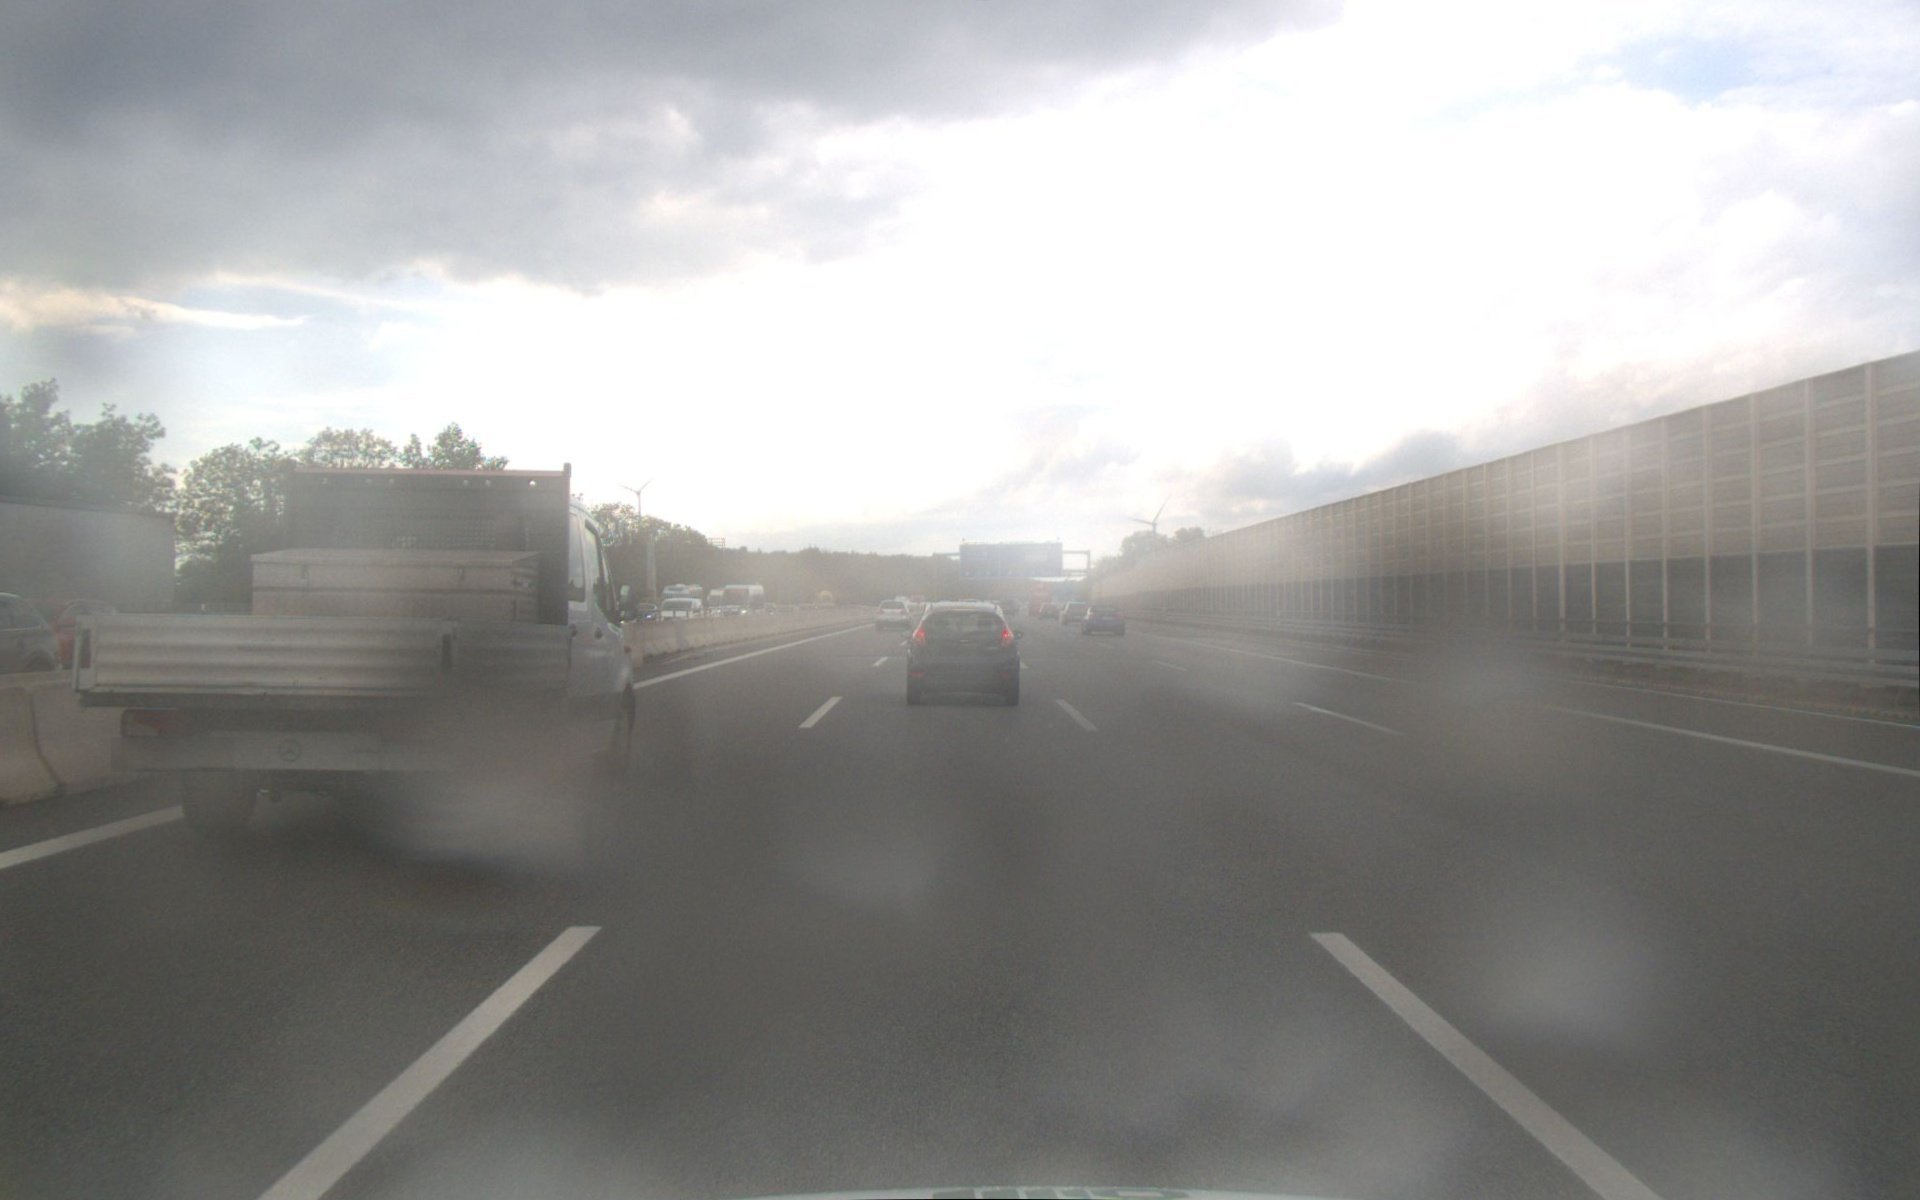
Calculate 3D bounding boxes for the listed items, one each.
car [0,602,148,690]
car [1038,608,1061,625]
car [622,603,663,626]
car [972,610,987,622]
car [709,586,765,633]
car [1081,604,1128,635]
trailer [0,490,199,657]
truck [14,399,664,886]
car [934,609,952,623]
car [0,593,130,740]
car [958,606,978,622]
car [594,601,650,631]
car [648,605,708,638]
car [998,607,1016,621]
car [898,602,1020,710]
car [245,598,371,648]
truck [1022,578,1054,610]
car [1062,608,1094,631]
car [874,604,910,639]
[{"bbox_3d":[-17.696,0.821,31.614,2.018,1.561,4.719,0,0,0],"label":"car"},{"bbox_3d":[8.201,1.510,151.750,1.844,1.588,4.432,0,-1,0],"label":"car"},{"bbox_3d":[-21.090,0.981,109.988,1.687,1.490,4.520,1,-1,2],"label":"car"},{"bbox_3d":[2.678,2.174,224.994,1.928,1.588,4.431,0,-1,-1],"label":"car"},{"bbox_3d":[-14.134,0.542,105.378,2.185,2.797,9.165,0,1,1],"label":"car"},{"bbox_3d":[6.737,0.912,77.639,1.909,1.443,4.232,0,0,1],"label":"car"},{"bbox_3d":[-25.065,-0.682,44.139,2.871,4.102,14.452,0,0,0],"label":"trailer"},{"bbox_3d":[-3.820,0.199,12.069,2.260,2.482,7.145,1,0,-2],"label":"truck"},{"bbox_3d":[-1.953,1.860,191.307,1.927,1.588,4.432,0,-1,0],"label":"car"},{"bbox_3d":[-13.569,0.870,21.833,2.018,1.913,6.327,0,0,0],"label":"car"},{"bbox_3d":[0.800,1.374,161.577,1.927,1.588,4.432,0,-1,0],"label":"car"},{"bbox_3d":[-17.630,0.818,86.533,2.018,1.561,4.519,0,0,0],"label":"car"},{"bbox_3d":[-13.910,1.034,81.967,2.018,1.561,5.469,0,0,0],"label":"car"},{"bbox_3d":[5.615,1.665,197.235,1.928,1.588,4.432,0,-1,0],"label":"car"},{"bbox_3d":[-0.045,0.781,25.008,1.682,1.441,4.278,0,1,-1],"label":"car"},{"bbox_3d":[-21.496,0.744,54.801,2.018,1.561,5.469,0,0,0],"label":"car"},{"bbox_3d":[9.259,-0.704,197.536,3.088,3.664,12.699,1,0,0],"label":"truck"},{"bbox_3d":[8.094,1.354,113.787,1.844,1.569,4.433,0,-1,0],"label":"car"},{"bbox_3d":[-3.420,1.045,83.578,1.682,1.652,4.278,0,1,-1],"label":"car"}]
